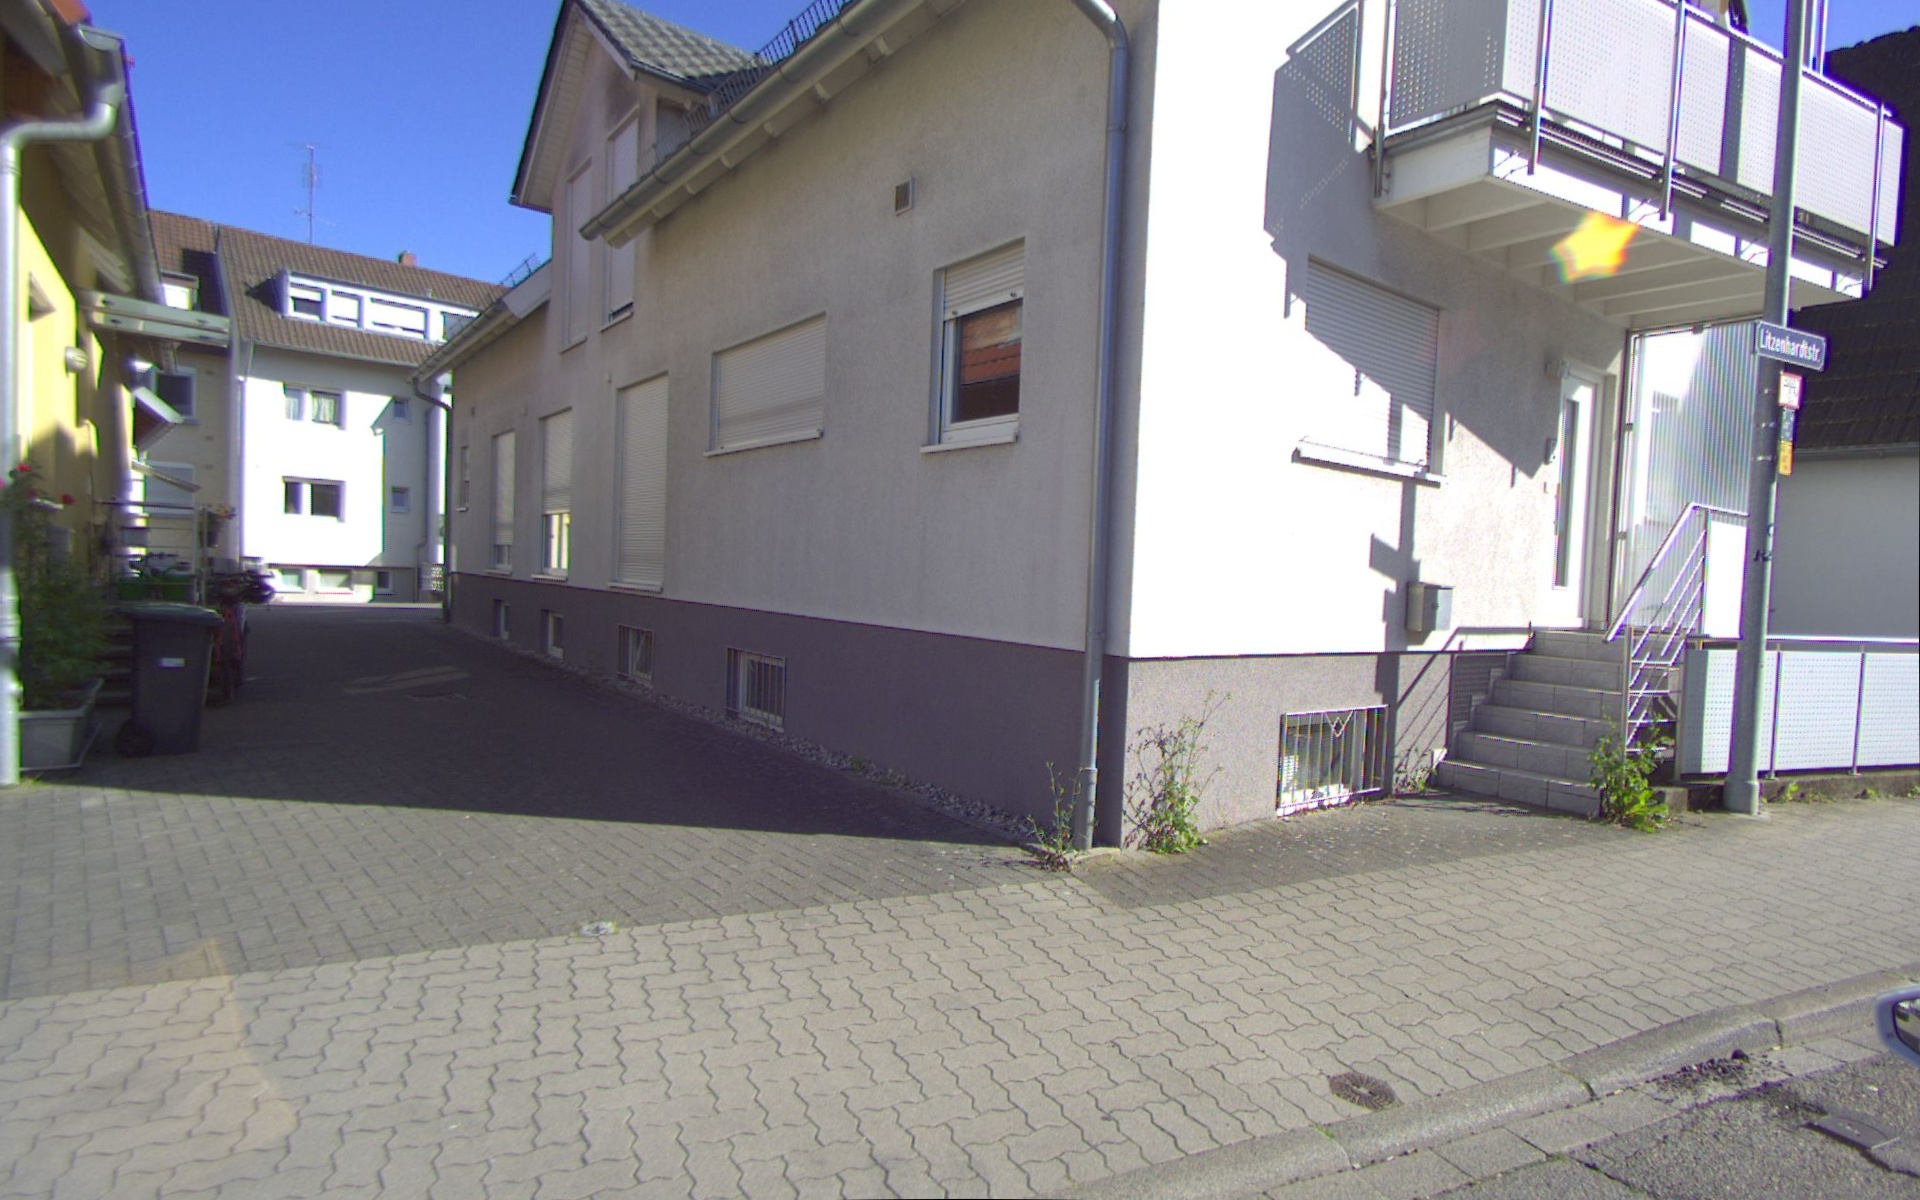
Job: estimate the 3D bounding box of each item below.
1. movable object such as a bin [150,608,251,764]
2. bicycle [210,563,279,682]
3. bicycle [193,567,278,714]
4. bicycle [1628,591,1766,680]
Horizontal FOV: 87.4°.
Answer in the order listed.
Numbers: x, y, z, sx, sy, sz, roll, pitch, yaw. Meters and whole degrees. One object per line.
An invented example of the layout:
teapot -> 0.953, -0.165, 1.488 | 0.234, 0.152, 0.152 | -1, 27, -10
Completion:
movable object such as a bin -> -4.861, 0.532, 6.447 | 0.488, 0.942, 0.375 | 0, 2, -34
bicycle -> -7.654, 0.195, 10.793 | 0.552, 1.158, 1.847 | 0, 2, -34
bicycle -> -6.415, 0.301, 8.946 | 0.552, 1.158, 1.847 | 0, 2, -34
bicycle -> 6.652, 0.306, 9.050 | 1.486, 0.727, 0.485 | 1, 3, -34
